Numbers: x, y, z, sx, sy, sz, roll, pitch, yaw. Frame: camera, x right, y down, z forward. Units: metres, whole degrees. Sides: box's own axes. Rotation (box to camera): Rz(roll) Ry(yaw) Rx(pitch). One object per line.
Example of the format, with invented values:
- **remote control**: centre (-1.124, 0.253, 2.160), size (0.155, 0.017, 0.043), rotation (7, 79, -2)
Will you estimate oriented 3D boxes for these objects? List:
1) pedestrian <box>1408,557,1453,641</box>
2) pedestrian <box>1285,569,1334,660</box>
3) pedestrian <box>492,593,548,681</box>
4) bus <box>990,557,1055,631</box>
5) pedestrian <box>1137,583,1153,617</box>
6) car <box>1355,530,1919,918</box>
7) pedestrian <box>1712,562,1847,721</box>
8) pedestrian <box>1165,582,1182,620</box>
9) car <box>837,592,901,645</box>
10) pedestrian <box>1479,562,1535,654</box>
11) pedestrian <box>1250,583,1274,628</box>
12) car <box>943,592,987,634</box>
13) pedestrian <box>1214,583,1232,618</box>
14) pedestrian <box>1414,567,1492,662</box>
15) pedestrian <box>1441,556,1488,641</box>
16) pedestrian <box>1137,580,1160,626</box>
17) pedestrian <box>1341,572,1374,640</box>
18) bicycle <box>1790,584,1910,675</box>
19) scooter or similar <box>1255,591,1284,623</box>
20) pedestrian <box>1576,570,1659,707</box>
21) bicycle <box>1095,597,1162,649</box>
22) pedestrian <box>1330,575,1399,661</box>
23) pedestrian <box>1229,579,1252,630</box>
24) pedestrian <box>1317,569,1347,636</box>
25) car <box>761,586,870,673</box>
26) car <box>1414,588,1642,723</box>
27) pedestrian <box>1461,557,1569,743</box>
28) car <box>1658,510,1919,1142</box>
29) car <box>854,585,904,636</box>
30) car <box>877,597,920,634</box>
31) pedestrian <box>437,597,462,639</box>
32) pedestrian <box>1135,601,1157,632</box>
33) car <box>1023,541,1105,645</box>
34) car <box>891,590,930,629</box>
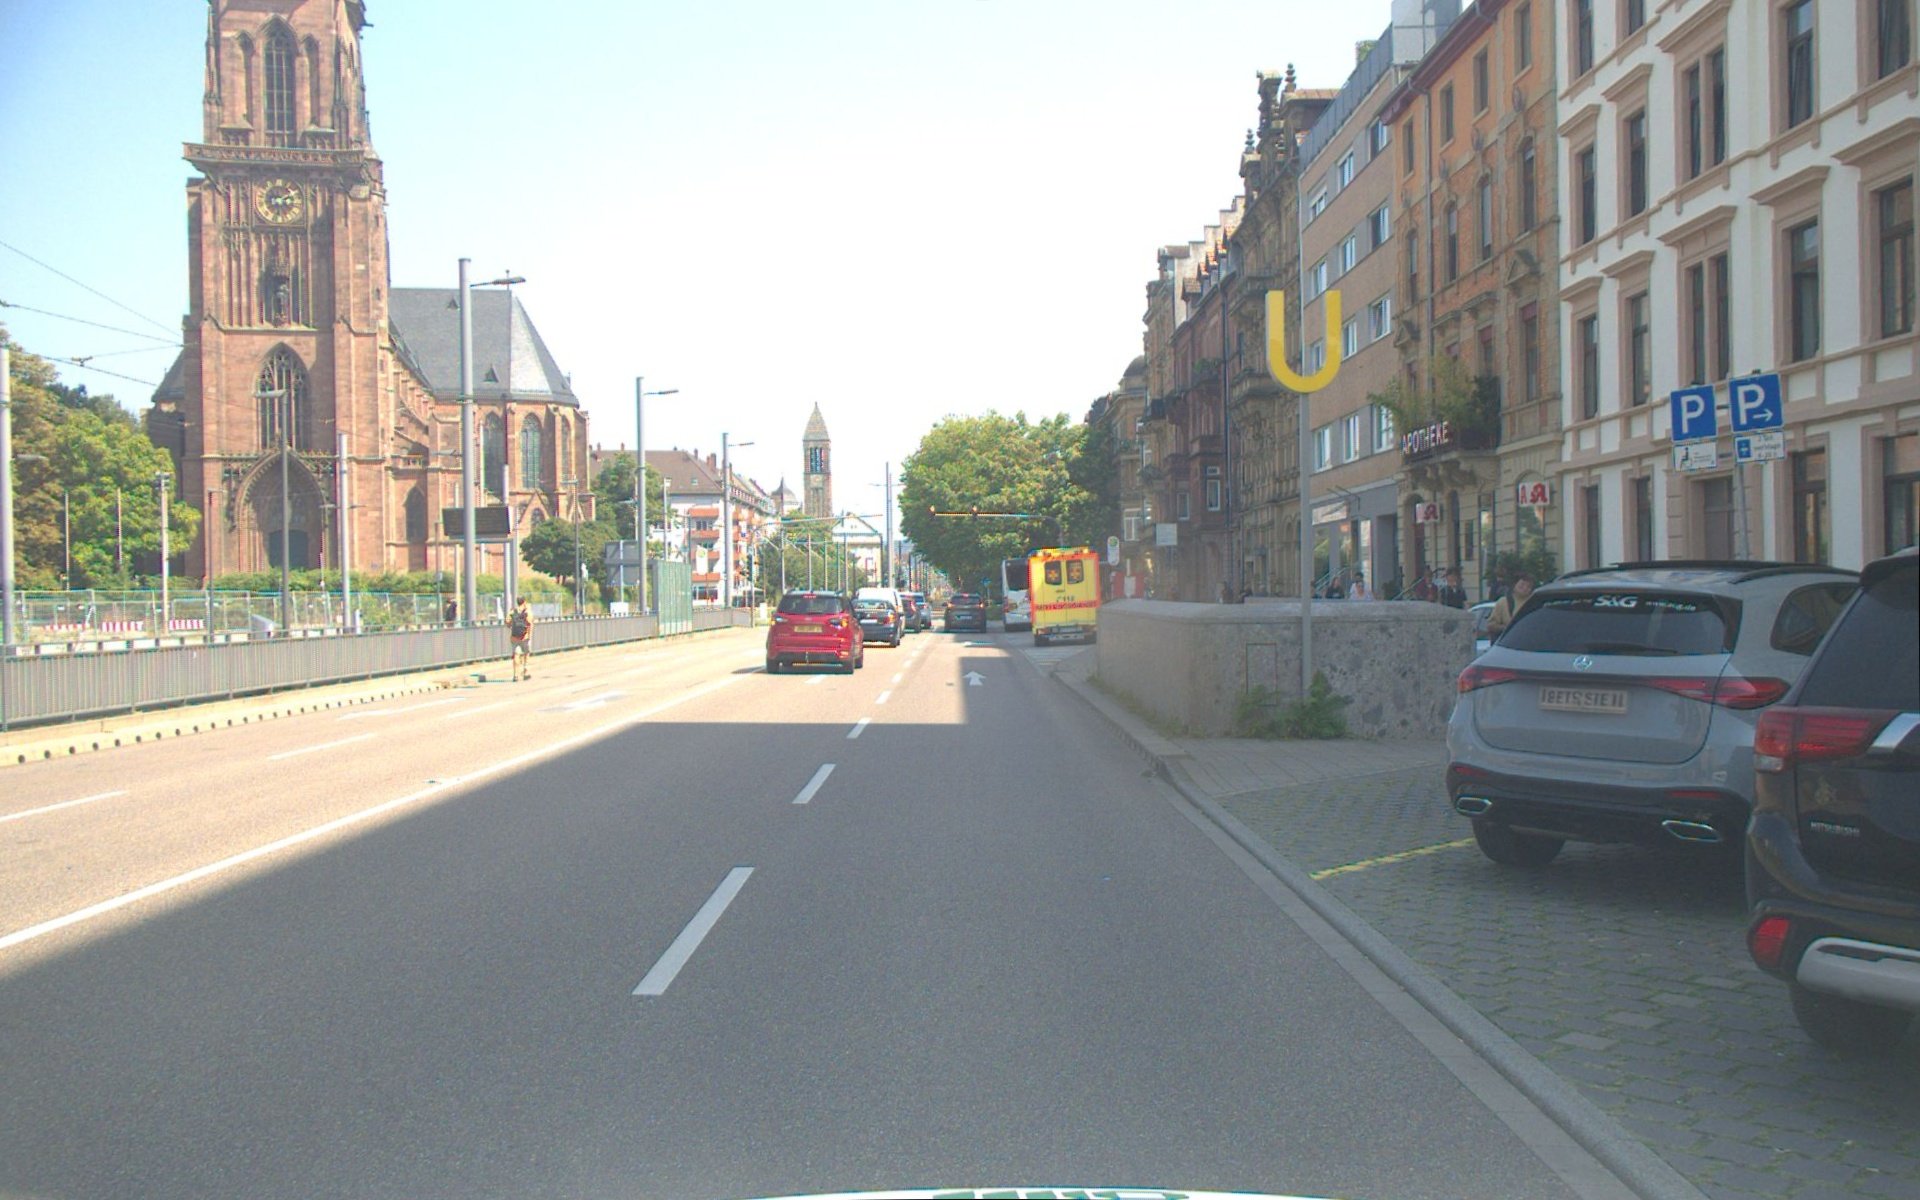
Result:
- **pedestrian**: centre (10.280, -0.036, 36.149), size (0.670, 1.805, 1.017), rotation (-1, 1, 0)
- **pedestrian**: centre (7.075, 0.281, 33.507), size (0.832, 1.759, 0.972), rotation (-2, 2, 6)
- **pedestrian**: centre (-9.104, 0.751, 34.273), size (0.745, 1.782, 1.070), rotation (-1, -1, 8)
- **bus**: centre (2.730, -0.270, 75.675), size (2.482, 3.085, 12.435), rotation (-1, 0, 0)
- **pedestrian**: centre (9.100, 0.000, 81.523), size (0.682, 1.696, 1.065), rotation (-1, 0, 2)
- **car**: centre (4.522, 0.517, 9.759), size (4.626, 1.743, 2.012), rotation (-2, 0, -42)
- **pedestrian**: centre (8.625, 0.422, 17.413), size (0.842, 1.609, 0.960), rotation (-1, -1, -33)
- **pedestrian**: centre (9.560, 0.052, 74.113), size (0.682, 1.696, 0.603), rotation (-1, 0, 2)
- **car**: centre (-2.671, 0.527, 49.323), size (1.754, 1.456, 3.999), rotation (-1, 0, -2)
- **pedestrian**: centre (11.556, 0.161, 34.971), size (0.825, 1.878, 0.685), rotation (-3, 0, -9)
- **pedestrian**: centre (10.321, 0.191, 56.501), size (0.630, 1.519, 0.789), rotation (-1, 0, -1)
- **car**: centre (0.197, 0.558, 71.249), size (1.754, 1.707, 3.999), rotation (-1, -1, -1)
- **pedestrian**: centre (12.429, 0.006, 78.170), size (0.610, 1.621, 0.695), rotation (-1, 0, -6)
- **pedestrian**: centre (8.520, 0.250, 28.596), size (0.842, 1.609, 0.960), rotation (-1, -1, -33)
- **pedestrian**: centre (11.001, -0.046, 36.078), size (0.670, 1.805, 1.017), rotation (-1, 1, 0)
- **pedestrian**: centre (6.911, 0.113, 60.679), size (0.683, 1.696, 0.602), rotation (-1, 0, 26)
- **pedestrian**: centre (10.939, 0.169, 45.490), size (0.587, 1.826, 0.880), rotation (-3, 0, 0)
- **bicycle**: centre (12.740, 0.390, 23.753), size (0.470, 1.166, 2.472), rotation (-1, 2, 2)
- **scooter or similar**: centre (11.887, 0.266, 63.583), size (0.504, 1.217, 1.297), rotation (-1, 0, -19)
- **pedestrian**: centre (8.485, 0.484, 21.374), size (0.657, 1.715, 0.943), rotation (-2, 0, 0)
- **bicycle**: centre (4.151, 0.562, 40.794), size (1.638, 1.237, 0.644), rotation (-1, 0, 5)
- **pedestrian**: centre (7.778, 0.339, 31.812), size (0.842, 1.609, 0.960), rotation (-1, -1, -33)
- **pedestrian**: centre (9.576, 0.159, 56.497), size (0.630, 1.714, 0.789), rotation (-1, 0, -1)
- **pedestrian**: centre (10.227, 0.071, 45.435), size (0.565, 1.780, 0.679), rotation (-3, 0, 0)
- **car**: centre (-2.903, 0.565, 33.996), size (1.726, 1.646, 4.083), rotation (-1, 0, 2)
- **car**: centre (7.024, 0.624, 20.805), size (1.597, 1.465, 3.620), rotation (-1, 1, 0)
- **pedestrian**: centre (5.584, 0.476, 16.610), size (0.849, 1.781, 0.872), rotation (3, 2, 27)
- **car**: centre (4.383, 0.566, 5.752), size (4.356, 1.717, 1.956), rotation (-2, 0, -42)
- **car**: centre (-2.988, 0.413, 61.603), size (1.754, 1.811, 3.999), rotation (-1, -1, -1)
- **car**: centre (-2.557, 0.647, 69.444), size (1.754, 1.498, 3.999), rotation (-1, -1, -1)
- **pedestrian**: centre (-21.743, 0.774, 70.467), size (0.812, 1.782, 0.720), rotation (-1, -1, 0)
- **pedestrian**: centre (11.438, 1.012, 101.716), size (1.223, 1.782, 1.526), rotation (-1, 2, 1)
- **car**: centre (3.197, -0.237, 50.810), size (2.251, 2.939, 5.602), rotation (-2, 0, 4)
- **car**: centre (-2.310, 0.452, 77.578), size (1.754, 1.728, 3.999), rotation (-1, -1, -1)
